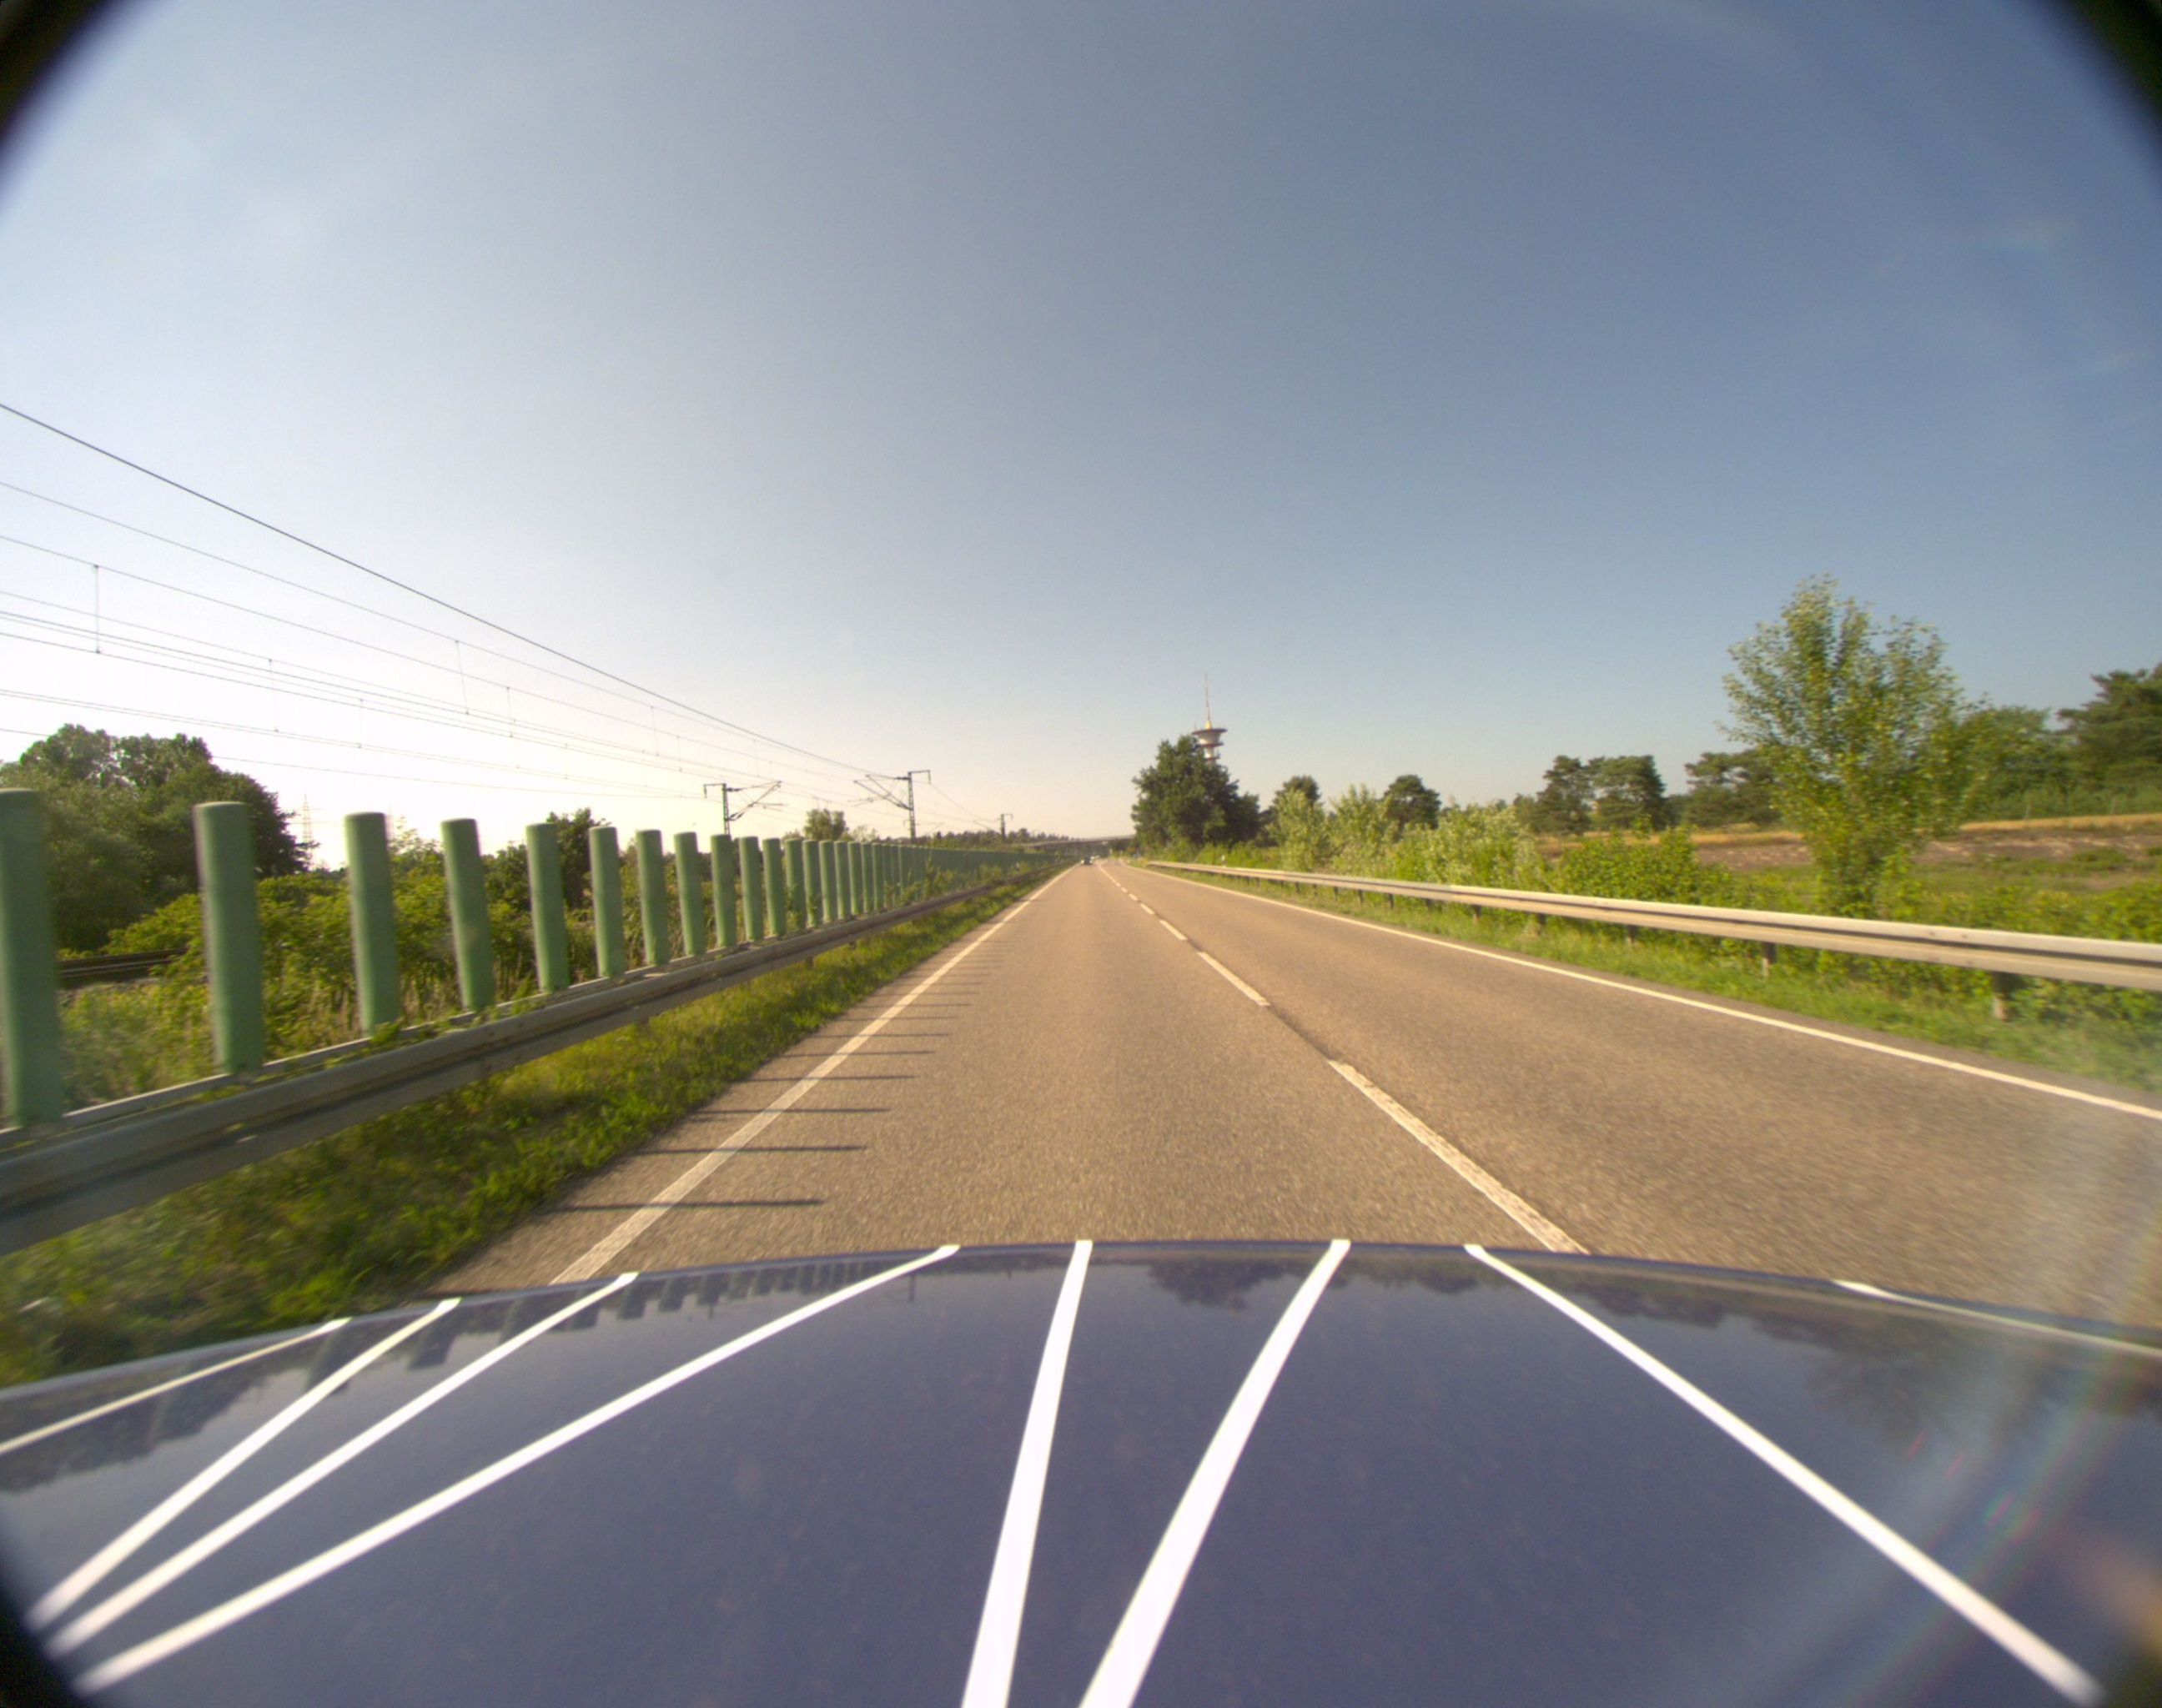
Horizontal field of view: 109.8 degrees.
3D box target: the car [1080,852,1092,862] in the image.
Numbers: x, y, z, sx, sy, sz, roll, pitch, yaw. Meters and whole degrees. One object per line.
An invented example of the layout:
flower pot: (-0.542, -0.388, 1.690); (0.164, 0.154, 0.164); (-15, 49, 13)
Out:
car: (0.865, 0.495, 129.536); (1.868, 1.533, 4.076); (-2, 0, 3)
